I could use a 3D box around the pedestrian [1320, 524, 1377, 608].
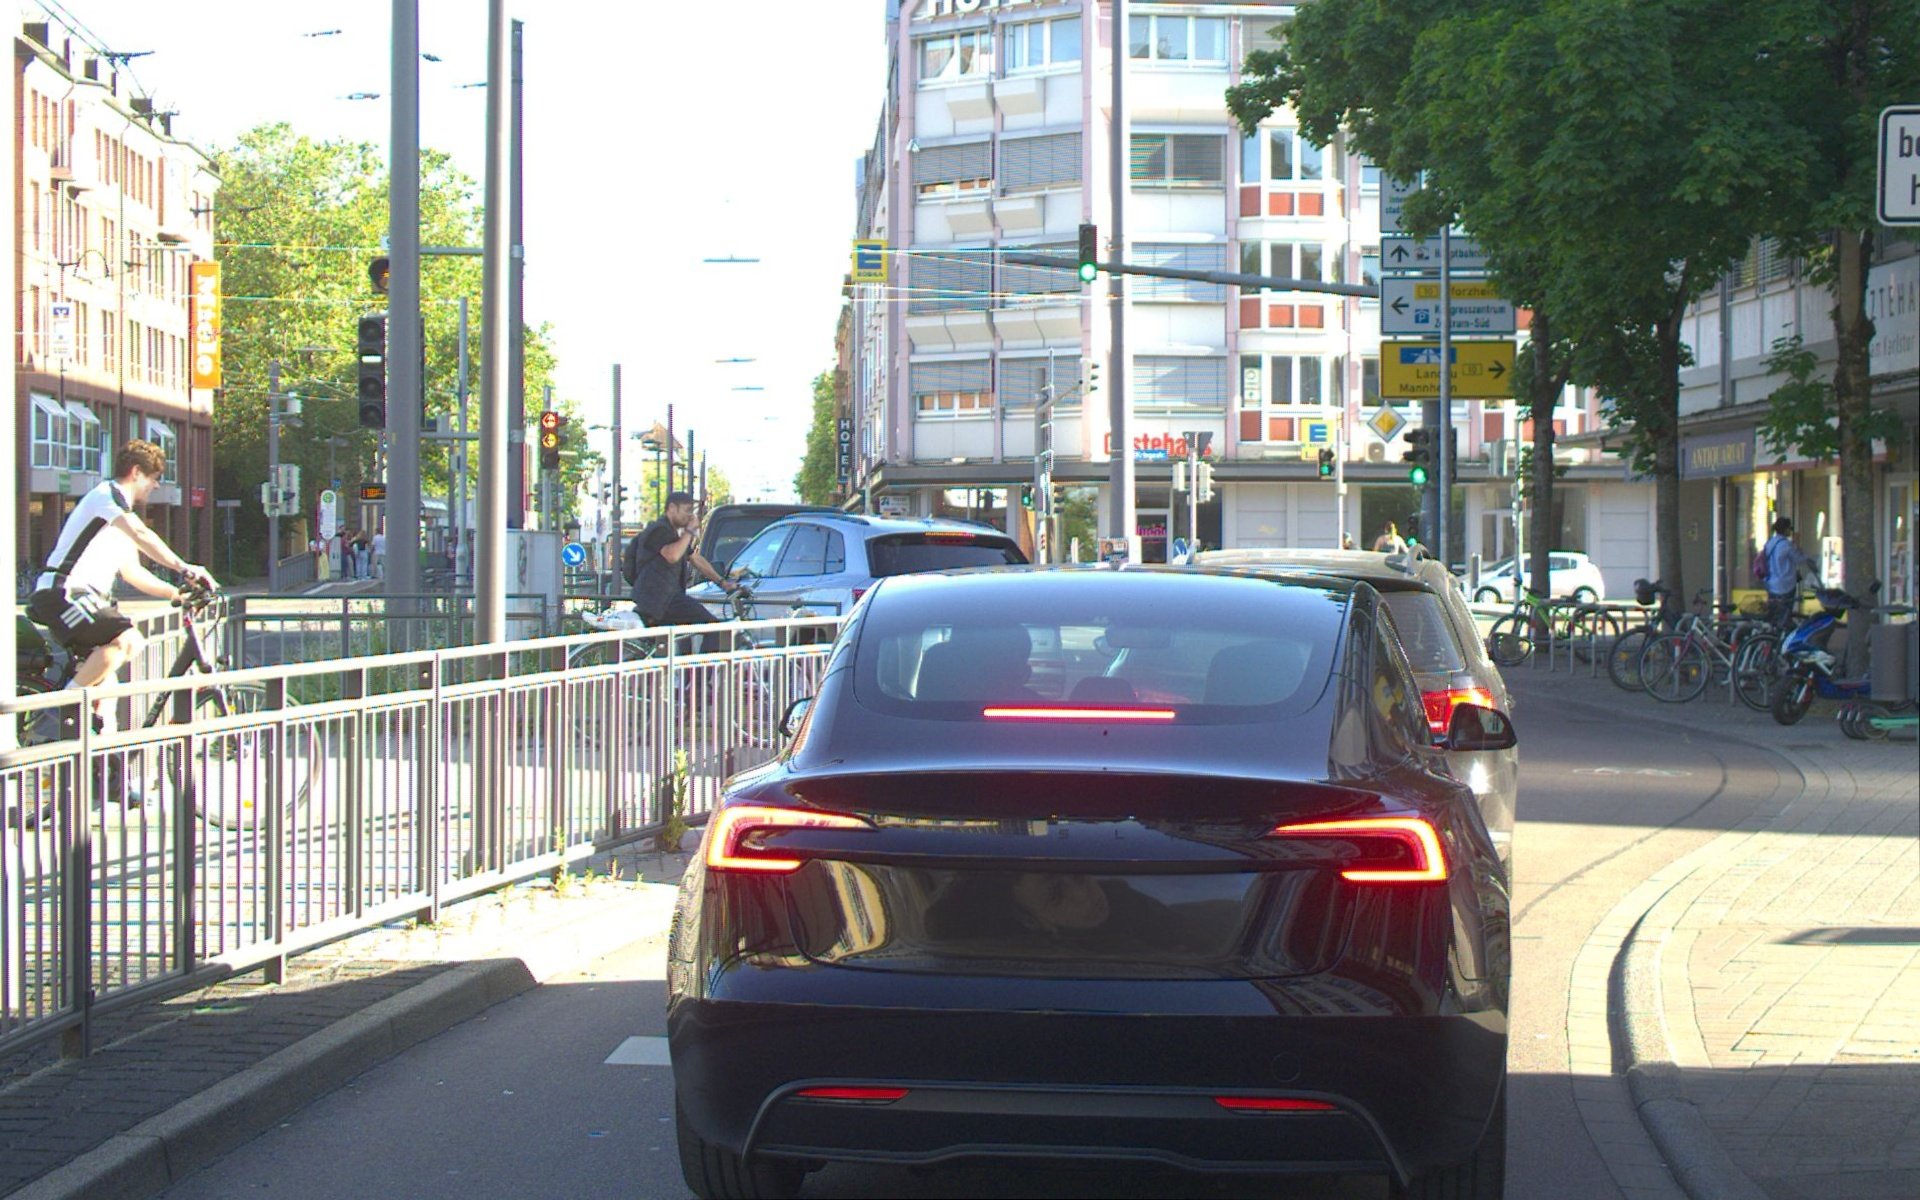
[{"bbox_3d":[7.466,-0.661,66.071,0.779,1.571,0.868,1,2,-15],"label":"pedestrian"}]

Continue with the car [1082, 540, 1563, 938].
[{"bbox_3d":[1.515,0.478,15.087,1.765,1.439,4.528,1,1,4],"label":"car"}]

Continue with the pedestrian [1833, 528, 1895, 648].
[{"bbox_3d":[10.834,-0.150,41.198,0.645,1.417,0.621,1,0,10],"label":"pedestrian"}]

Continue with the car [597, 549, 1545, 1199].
[{"bbox_3d":[0.347,0.633,8.518,1.791,1.446,3.939,1,2,4],"label":"car"}]

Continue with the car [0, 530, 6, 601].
[{"bbox_3d":[-21.693,-0.747,73.145,1.685,1.555,4.123,1,1,-1],"label":"car"}]

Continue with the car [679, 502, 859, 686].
[{"bbox_3d":[-1.776,-0.070,32.317,1.572,1.612,3.784,1,1,-3],"label":"car"}]

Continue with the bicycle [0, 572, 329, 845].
[{"bbox_3d":[-3.886,0.485,15.855,1.820,1.207,0.582,1,0,4],"label":"bicycle"}]

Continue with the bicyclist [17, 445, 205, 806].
[{"bbox_3d":[-3.911,0.113,15.862,0.681,1.625,0.578,1,0,4],"label":"bicyclist"}]

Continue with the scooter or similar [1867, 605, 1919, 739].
[{"bbox_3d":[7.607,0.563,26.901,0.964,1.039,0.160,0,1,3],"label":"scooter or similar"}]

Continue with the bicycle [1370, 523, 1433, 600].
[{"bbox_3d":[8.456,-0.749,65.969,0.582,1.458,1.686,0,1,-16],"label":"bicycle"}]

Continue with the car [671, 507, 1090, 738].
[{"bbox_3d":[-0.675,0.140,26.212,1.839,1.629,3.486,1,1,-27],"label":"car"}]

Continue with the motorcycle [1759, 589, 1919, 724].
[{"bbox_3d":[7.757,0.479,29.227,1.787,1.126,0.504,1,0,-3],"label":"motorcycle"}]

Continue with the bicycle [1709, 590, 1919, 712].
[{"bbox_3d":[7.776,0.456,31.294,1.849,1.052,0.399,-1,1,-11],"label":"bicycle"}]

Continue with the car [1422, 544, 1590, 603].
[{"bbox_3d":[13.706,-0.658,86.411,3.840,1.427,1.804,0,-1,-5],"label":"car"}]

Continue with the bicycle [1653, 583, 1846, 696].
[{"bbox_3d":[7.648,0.380,33.334,1.767,1.053,0.458,1,0,5],"label":"bicycle"}]

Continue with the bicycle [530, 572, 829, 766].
[{"bbox_3d":[-1.808,0.434,22.268,1.820,1.207,0.642,0,1,-31],"label":"bicycle"}]

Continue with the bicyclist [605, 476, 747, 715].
[{"bbox_3d":[-1.840,-0.031,22.241,0.681,1.518,0.635,1,0,-31],"label":"bicyclist"}]

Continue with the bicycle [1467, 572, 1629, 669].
[{"bbox_3d":[7.251,0.252,42.432,1.890,1.152,0.480,-1,0,0],"label":"bicycle"}]

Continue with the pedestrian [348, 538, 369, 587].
[{"bbox_3d":[-19.087,-1.191,109.092,0.583,1.525,0.638,1,0,-18],"label":"pedestrian"}]

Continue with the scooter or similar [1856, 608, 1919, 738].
[{"bbox_3d":[7.618,0.581,27.300,0.964,1.023,0.160,0,1,3],"label":"scooter or similar"}]

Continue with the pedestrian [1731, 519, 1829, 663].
[{"bbox_3d":[9.898,-0.112,41.476,0.845,1.715,0.878,1,1,37],"label":"pedestrian"}]

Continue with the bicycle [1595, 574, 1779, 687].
[{"bbox_3d":[7.477,0.314,35.369,1.809,1.147,0.435,0,0,-4],"label":"bicycle"}]

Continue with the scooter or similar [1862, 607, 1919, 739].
[{"bbox_3d":[7.613,0.573,27.100,0.956,1.035,0.160,0,1,3],"label":"scooter or similar"}]
